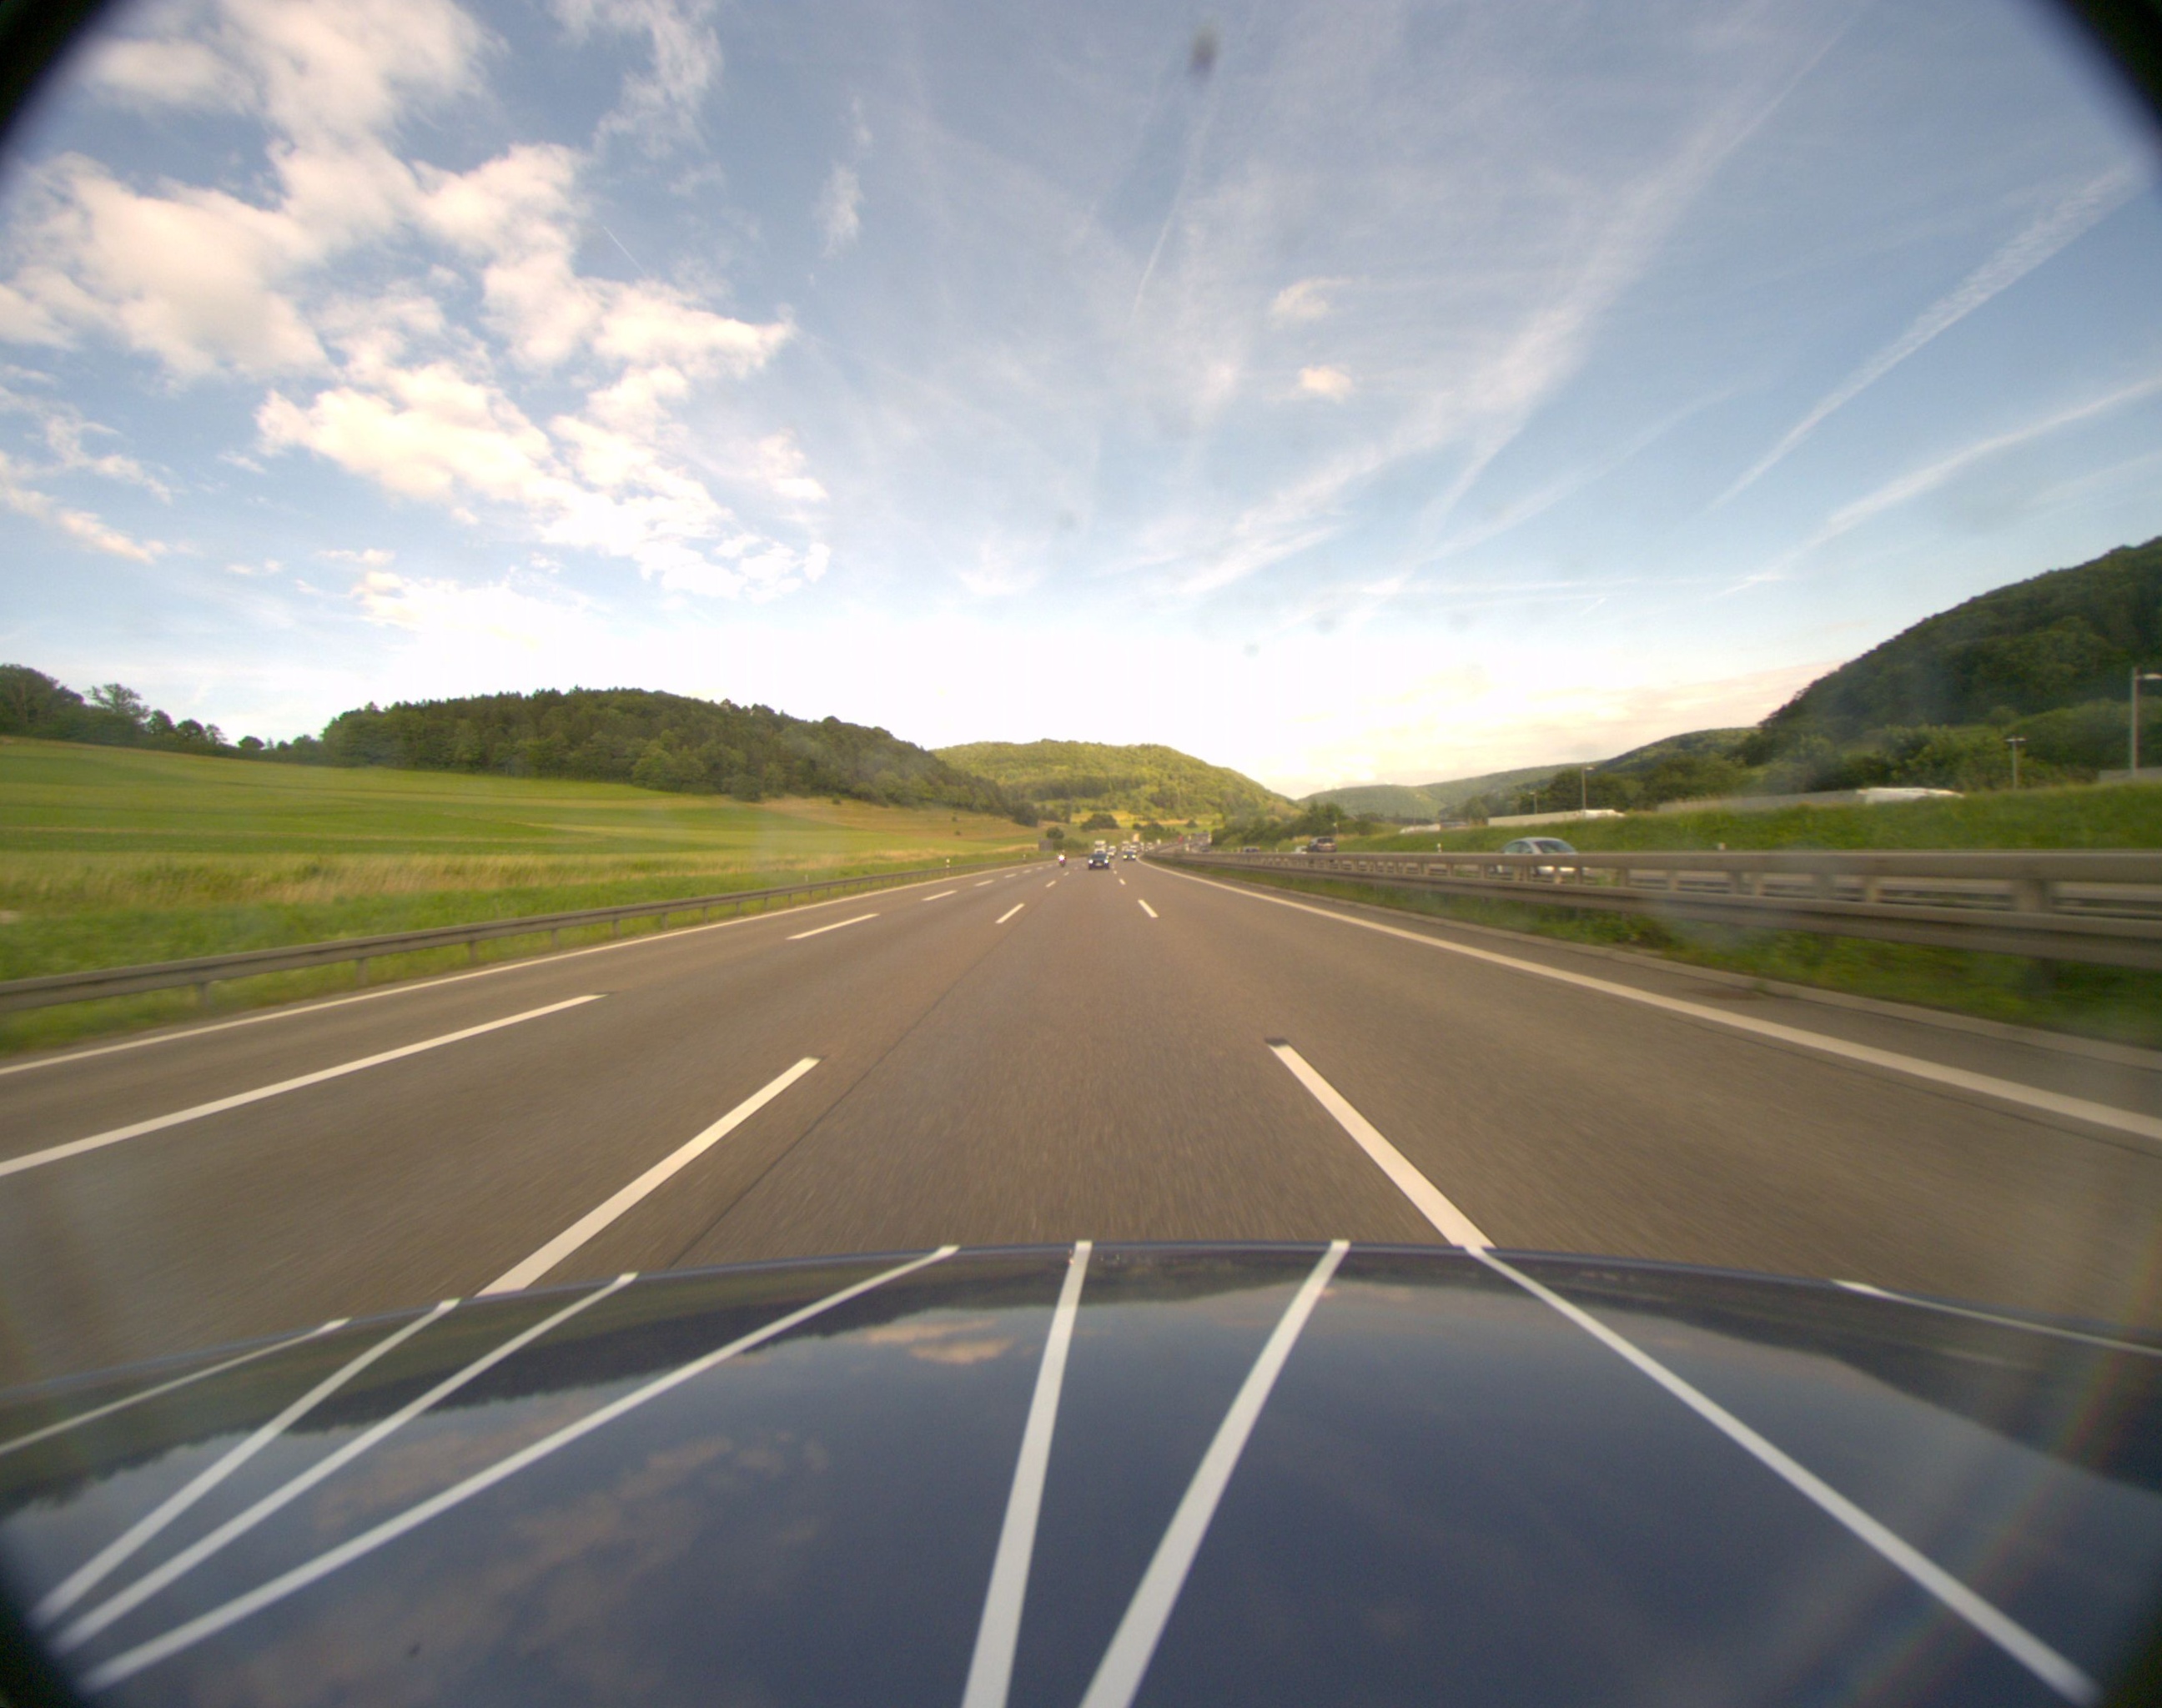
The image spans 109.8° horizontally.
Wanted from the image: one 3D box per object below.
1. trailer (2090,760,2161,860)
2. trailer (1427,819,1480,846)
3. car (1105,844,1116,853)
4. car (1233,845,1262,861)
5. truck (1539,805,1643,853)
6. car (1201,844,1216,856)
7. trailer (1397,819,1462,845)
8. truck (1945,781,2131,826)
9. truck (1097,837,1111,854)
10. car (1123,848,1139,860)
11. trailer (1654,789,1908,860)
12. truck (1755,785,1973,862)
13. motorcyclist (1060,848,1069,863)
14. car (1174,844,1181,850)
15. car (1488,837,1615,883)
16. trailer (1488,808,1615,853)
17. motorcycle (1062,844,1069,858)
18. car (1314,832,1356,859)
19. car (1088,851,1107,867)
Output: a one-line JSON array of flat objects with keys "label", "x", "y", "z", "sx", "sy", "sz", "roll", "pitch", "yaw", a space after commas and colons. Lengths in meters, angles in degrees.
[{"label": "trailer", "x": 41.225, "y": -1.603, "z": 24.803, "sx": 2.884, "sy": 3.675, "sz": 10.371, "roll": -1, "pitch": 1, "yaw": 1}, {"label": "trailer", "x": 42.399, "y": -2.517, "z": 86.792, "sx": 2.618, "sy": 2.837, "sz": 7.303, "roll": -2, "pitch": 2, "yaw": 1}, {"label": "car", "x": 6.208, "y": -1.194, "z": 157.992, "sx": 1.997, "sy": 1.871, "sz": 4.001, "roll": 0, "pitch": 1, "yaw": 7}, {"label": "car", "x": 16.477, "y": -0.120, "z": 75.365, "sx": 1.956, "sy": 1.467, "sz": 3.872, "roll": 0, "pitch": 1, "yaw": 0}, {"label": "truck", "x": 41.851, "y": -1.944, "z": 62.832, "sx": 2.888, "sy": 3.669, "sz": 8.492, "roll": 0, "pitch": 1, "yaw": 0}, {"label": "car", "x": 19.644, "y": -0.590, "z": 117.025, "sx": 1.811, "sy": 1.605, "sz": 4.340, "roll": -2, "pitch": 2, "yaw": 3}, {"label": "trailer", "x": 42.536, "y": -2.744, "z": 93.319, "sx": 2.585, "sy": 2.837, "sz": 12.259, "roll": -2, "pitch": 2, "yaw": 1}, {"label": "truck", "x": 95.037, "y": -4.912, "z": 75.964, "sx": 2.592, "sy": 3.835, "sz": 11.347, "roll": -5, "pitch": 3, "yaw": -44}, {"label": "truck", "x": 6.056, "y": -2.326, "z": 195.170, "sx": 2.971, "sy": 3.970, "sz": 17.730, "roll": -2, "pitch": 2, "yaw": 4}, {"label": "car", "x": 7.743, "y": -0.024, "z": 116.880, "sx": 1.997, "sy": 1.871, "sz": 4.002, "roll": 0, "pitch": 1, "yaw": 10}, {"label": "trailer", "x": 41.483, "y": -1.694, "z": 46.279, "sx": 2.884, "sy": 3.675, "sz": 13.673, "roll": 0, "pitch": 1, "yaw": 1}, {"label": "truck", "x": 41.400, "y": -1.557, "z": 40.756, "sx": 2.888, "sy": 3.670, "sz": 8.491, "roll": 0, "pitch": 2, "yaw": 1}, {"label": "motorcyclist", "x": -1.770, "y": 0.131, "z": 81.837, "sx": 0.878, "sy": 1.506, "sz": 0.797, "roll": -2, "pitch": 2, "yaw": 8}, {"label": "car", "x": 25.047, "y": -1.876, "z": 197.282, "sx": 1.845, "sy": 1.521, "sz": 4.216, "roll": 0, "pitch": 1, "yaw": 5}, {"label": "car", "x": 15.961, "y": 0.167, "z": 26.034, "sx": 1.956, "sy": 1.439, "sz": 3.872, "roll": 0, "pitch": 1, "yaw": 0}, {"label": "trailer", "x": 41.830, "y": -1.941, "z": 68.489, "sx": 2.884, "sy": 3.675, "sz": 13.674, "roll": 0, "pitch": 1, "yaw": 0}, {"label": "motorcycle", "x": -1.643, "y": -0.327, "z": 81.434, "sx": 0.628, "sy": 1.331, "sz": 1.739, "roll": -2, "pitch": 2, "yaw": 3}, {"label": "car", "x": 20.682, "y": -0.665, "z": 62.146, "sx": 1.956, "sy": 2.101, "sz": 4.520, "roll": 0, "pitch": 1, "yaw": 0}, {"label": "car", "x": 1.414, "y": 0.422, "z": 66.255, "sx": 1.580, "sy": 1.310, "sz": 4.000, "roll": 0, "pitch": 1, "yaw": 1}]
